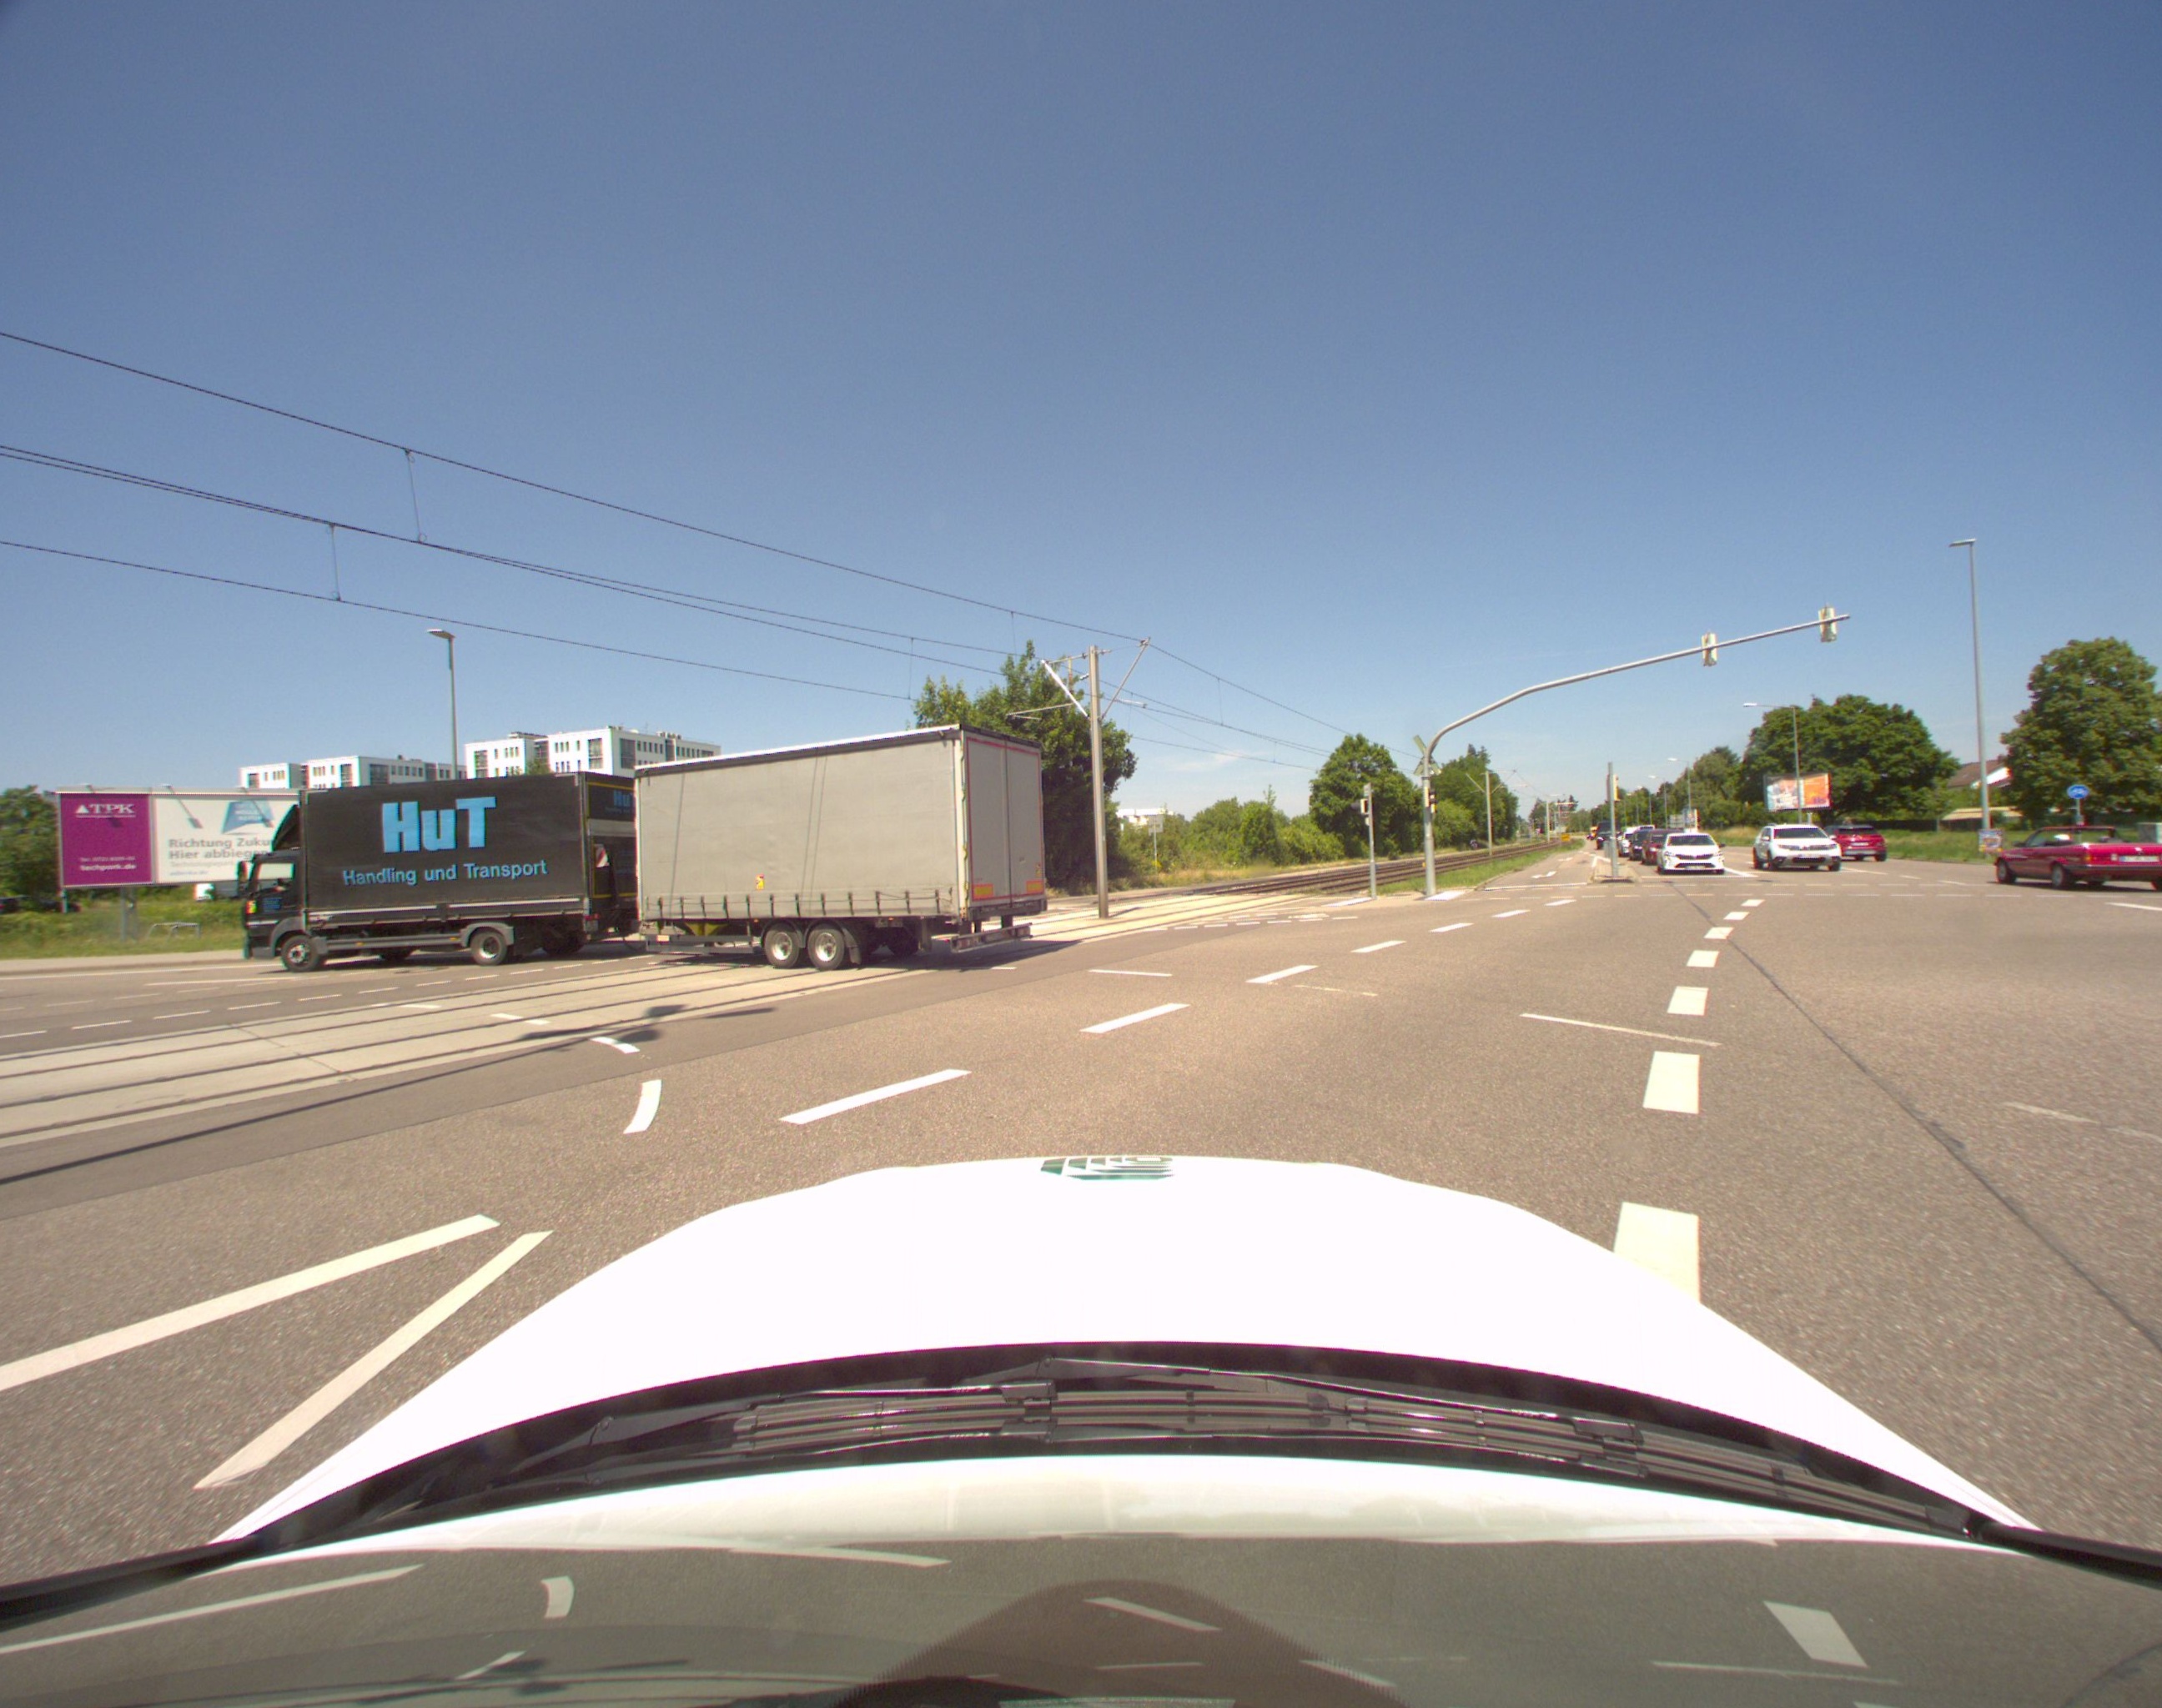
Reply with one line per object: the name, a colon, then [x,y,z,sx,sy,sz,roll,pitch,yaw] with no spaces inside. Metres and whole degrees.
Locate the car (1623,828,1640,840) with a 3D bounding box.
car: [81.411,-2.949,120.459,1.750,1.755,4.025,0,1,31]

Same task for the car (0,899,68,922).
car: [-76.755,4.088,59.152,1.691,1.533,3.636,-2,-2,8]

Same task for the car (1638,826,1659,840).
car: [69.155,-2.543,99.289,1.750,1.755,4.025,0,1,31]

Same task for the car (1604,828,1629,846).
car: [49.299,-1.539,75.007,1.851,1.576,4.440,-1,1,33]

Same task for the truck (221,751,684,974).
truck: [-13.260,0.246,17.567,7.890,4.070,3.093,-2,-1,7]

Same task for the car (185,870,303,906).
car: [-74.158,2.992,72.358,2.641,2.802,6.877,-3,-1,13]

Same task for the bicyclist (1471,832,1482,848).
bicyclist: [52.025,-1.812,107.040,1.061,2.014,1.193,-6,-2,28]

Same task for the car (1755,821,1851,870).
car: [25.211,-0.302,28.584,1.851,1.576,4.440,-1,1,33]

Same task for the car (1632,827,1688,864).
car: [26.200,-0.395,36.960,1.851,1.576,4.440,-1,1,33]

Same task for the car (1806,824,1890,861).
car: [32.973,-0.512,35.144,1.825,1.459,4.440,-3,0,33]

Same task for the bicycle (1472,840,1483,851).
bicycle: [52.105,-1.177,107.095,1.050,1.346,2.713,-6,-2,28]

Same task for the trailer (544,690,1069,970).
trailer: [-5.349,-0.139,15.221,9.687,4.070,3.105,-3,-1,25]

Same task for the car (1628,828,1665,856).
car: [34.134,-0.750,49.215,1.708,1.576,4.440,-1,1,33]

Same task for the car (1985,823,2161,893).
car: [21.890,0.032,17.829,1.743,1.348,4.340,-1,1,33]

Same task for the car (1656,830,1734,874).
car: [21.618,-0.107,28.826,1.851,1.389,4.440,-2,0,33]

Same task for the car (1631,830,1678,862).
car: [30.410,-0.445,43.286,1.851,1.576,4.440,-1,1,33]
